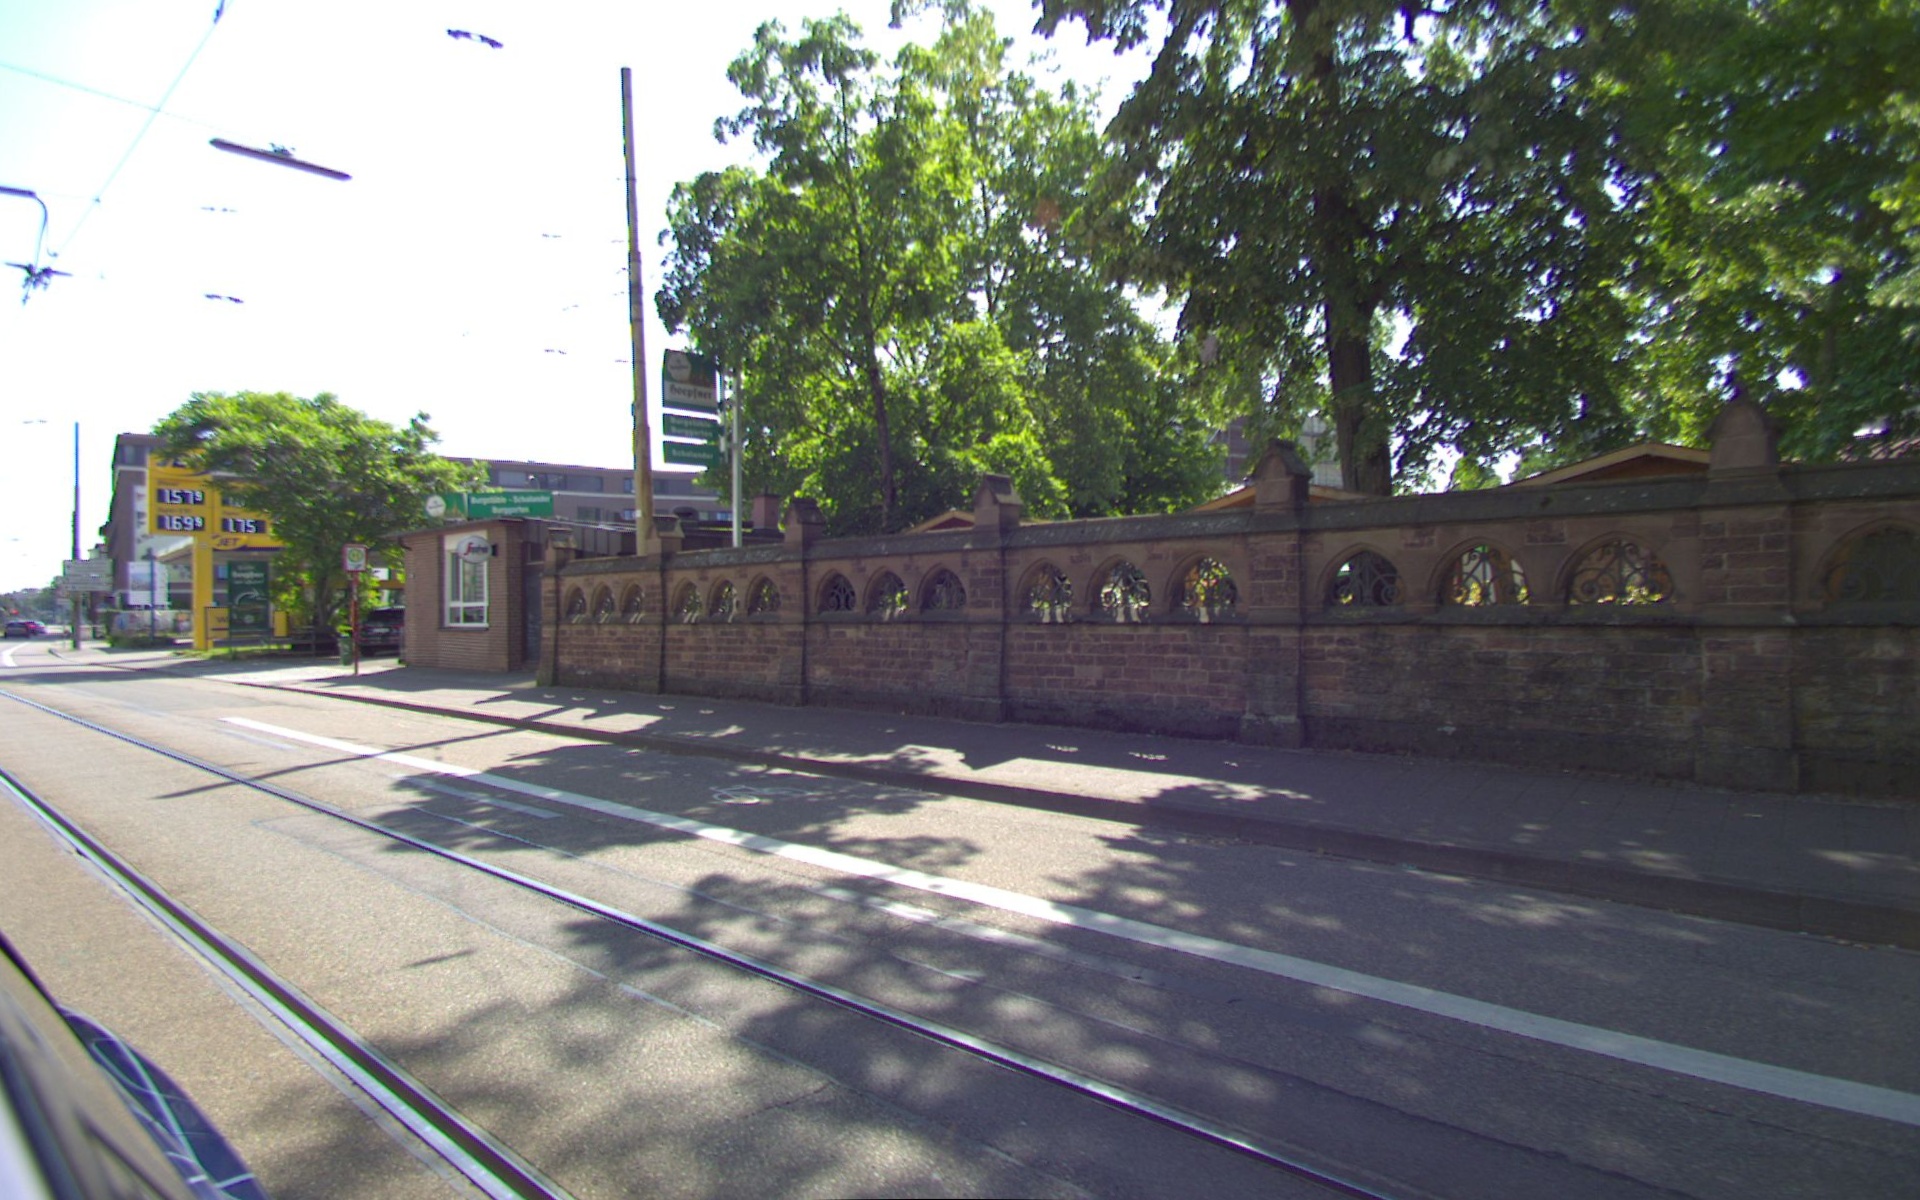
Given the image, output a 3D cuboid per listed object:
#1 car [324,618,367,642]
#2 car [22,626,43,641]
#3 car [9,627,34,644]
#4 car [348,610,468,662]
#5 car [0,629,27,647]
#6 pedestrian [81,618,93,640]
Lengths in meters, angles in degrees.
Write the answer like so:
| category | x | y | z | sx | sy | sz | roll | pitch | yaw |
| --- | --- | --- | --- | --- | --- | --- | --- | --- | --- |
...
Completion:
| category | x | y | z | sx | sy | sz | roll | pitch | yaw |
| --- | --- | --- | --- | --- | --- | --- | --- | --- | --- |
| car | -37.278 | 1.784 | 61.440 | 1.673 | 1.313 | 4.405 | -3 | 1 | -24 |
| car | -111.143 | 4.038 | 121.304 | 1.691 | 1.634 | 3.583 | -2 | 0 | -41 |
| car | -102.805 | 3.871 | 110.892 | 1.779 | 1.742 | 4.194 | -2 | 0 | -41 |
| car | -18.832 | 1.184 | 34.777 | 1.920 | 1.637 | 4.583 | -1 | 0 | -5 |
| car | -85.218 | 3.400 | 91.079 | 1.726 | 1.583 | 3.894 | 1 | -1 | -45 |
| pedestrian | -76.447 | 2.545 | 88.609 | 0.834 | 1.833 | 0.840 | 0 | -1 | -41 |
